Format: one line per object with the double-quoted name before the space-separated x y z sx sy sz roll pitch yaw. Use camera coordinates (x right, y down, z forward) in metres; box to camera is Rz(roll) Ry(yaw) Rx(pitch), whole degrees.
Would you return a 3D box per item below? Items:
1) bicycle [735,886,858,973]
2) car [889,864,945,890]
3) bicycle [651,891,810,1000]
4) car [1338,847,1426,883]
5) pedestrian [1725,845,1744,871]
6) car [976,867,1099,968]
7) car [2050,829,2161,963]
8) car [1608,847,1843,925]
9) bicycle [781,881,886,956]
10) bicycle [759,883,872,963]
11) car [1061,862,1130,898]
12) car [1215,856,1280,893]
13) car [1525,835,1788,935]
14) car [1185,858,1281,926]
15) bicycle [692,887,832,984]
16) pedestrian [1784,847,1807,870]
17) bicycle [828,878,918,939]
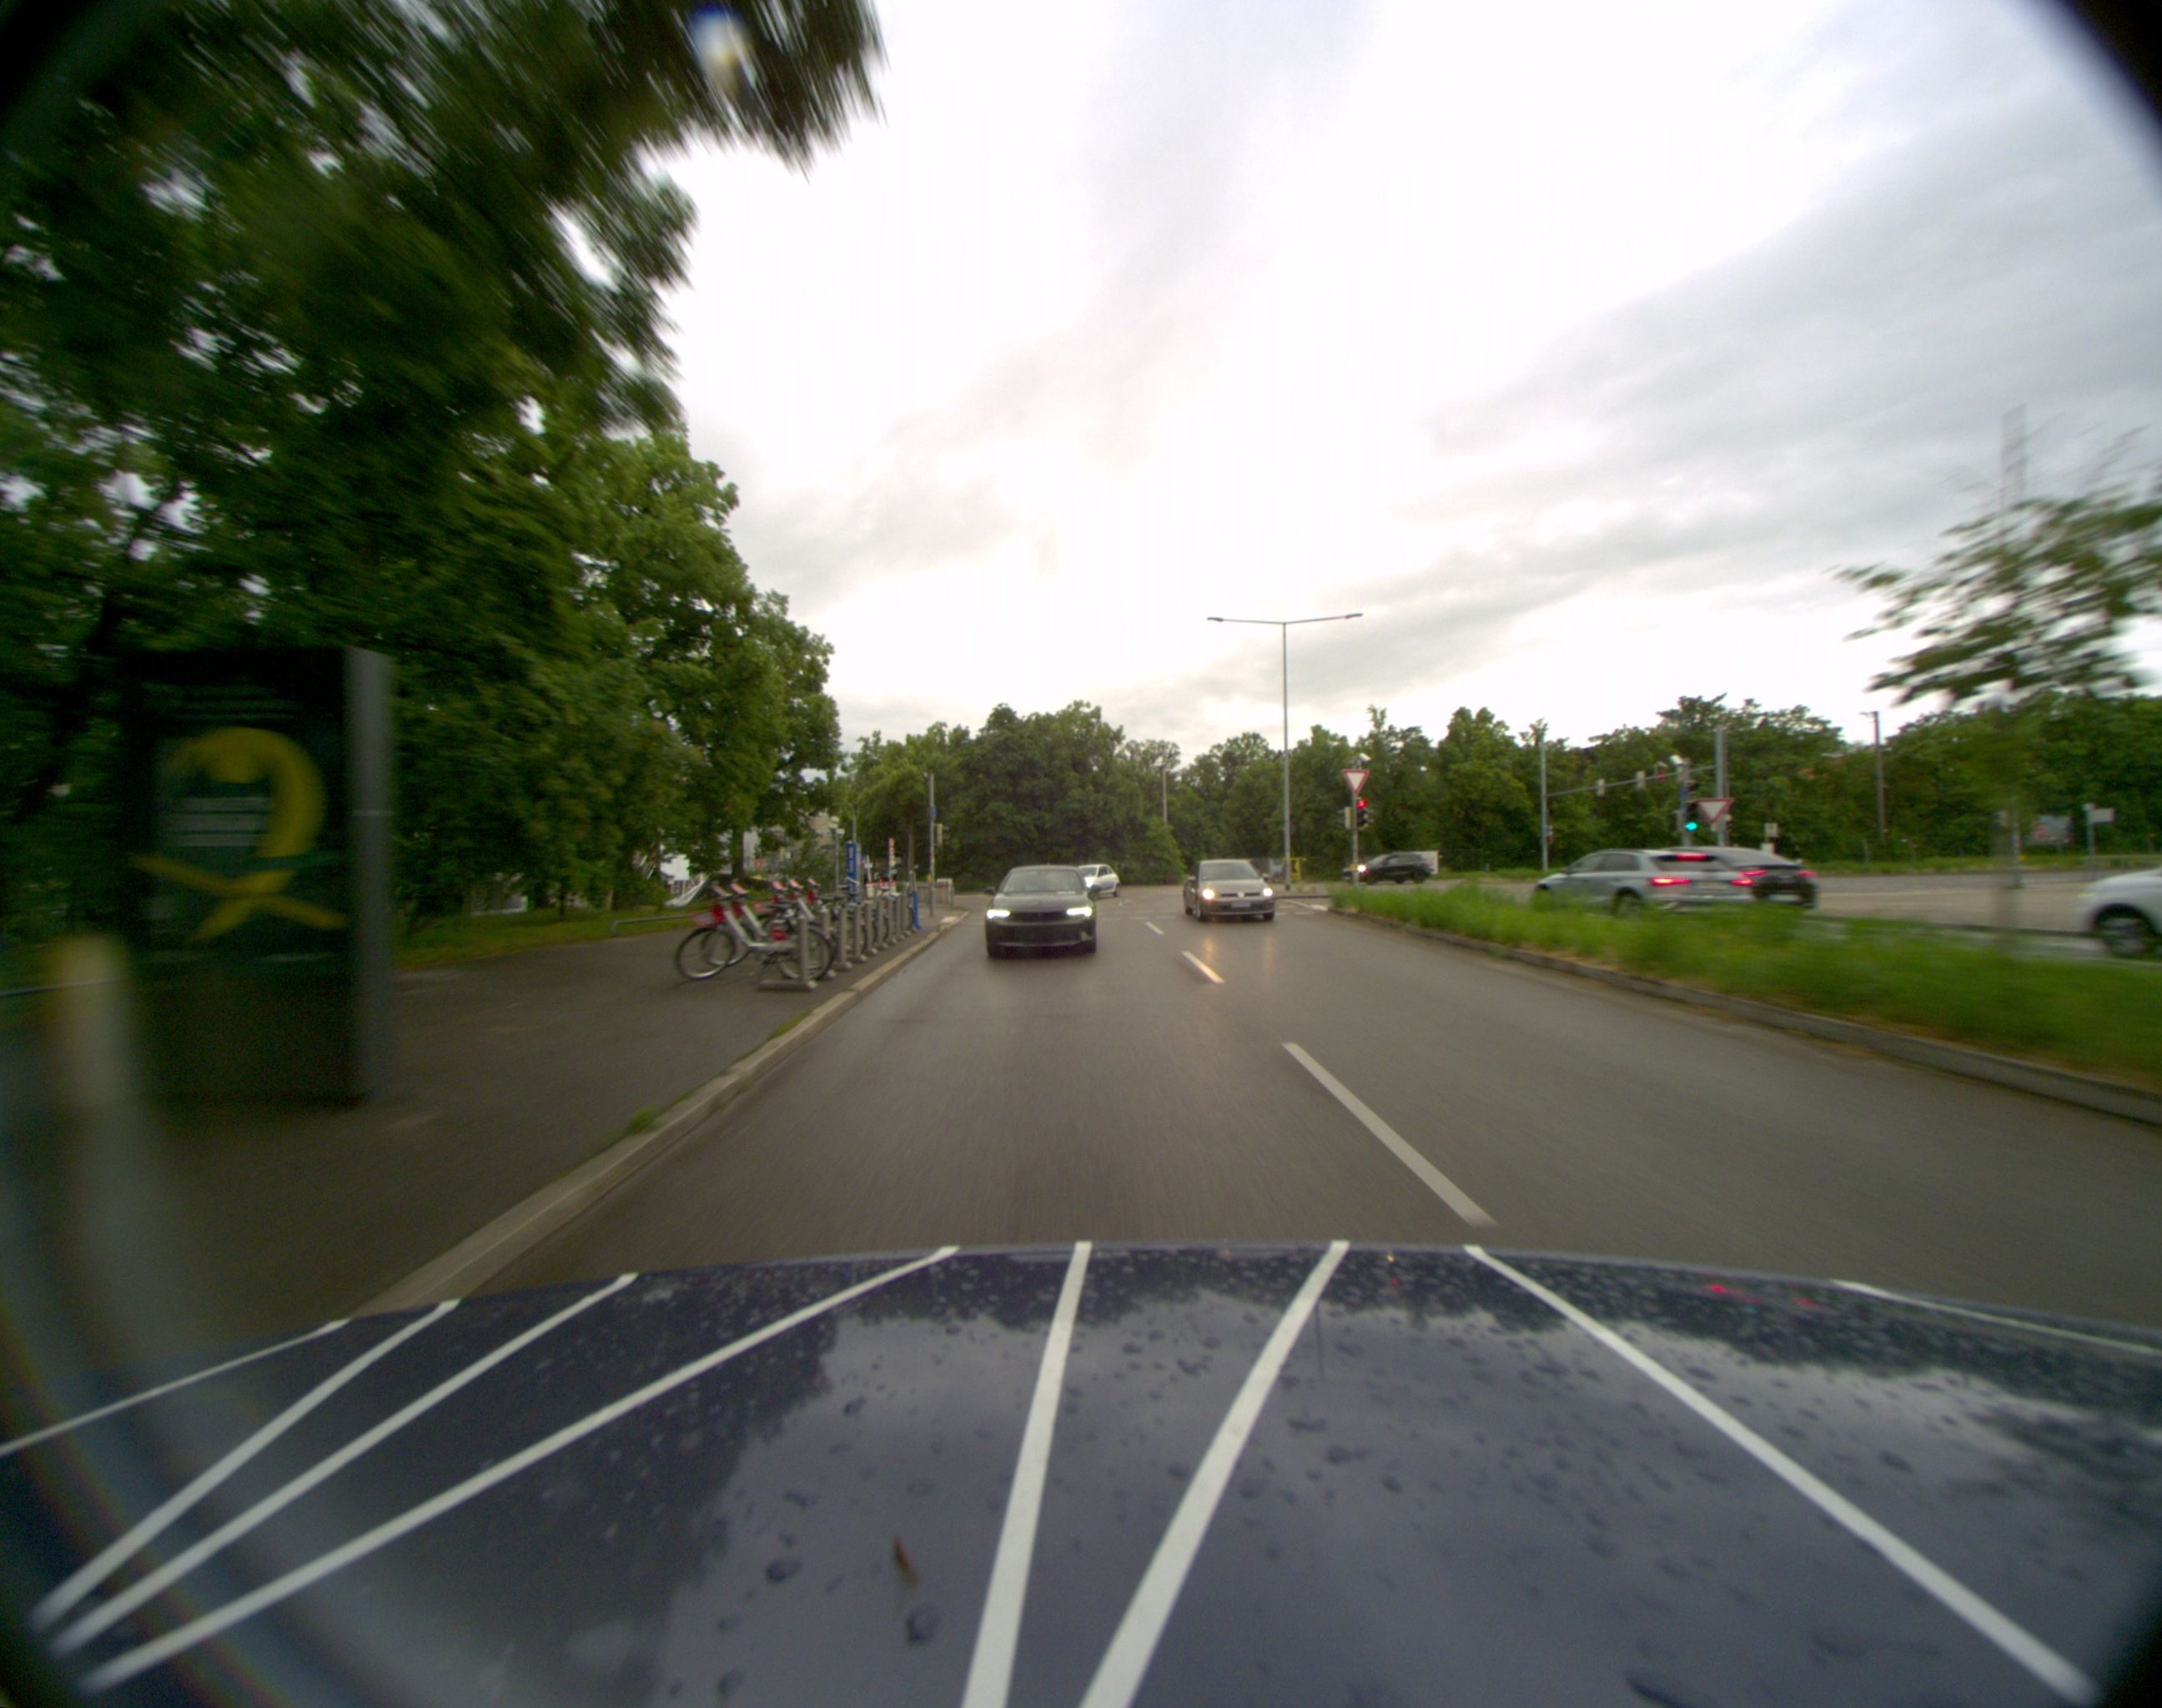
"bicycle" -3.942 1.039 10.602 1.489 1.125 0.556 2 1 -4
"car" -13.641 1.888 63.329 4.008 2.001 1.995 -1 -1 -43
"bicycle" -3.894 1.007 8.507 1.489 1.125 0.556 2 1 -4
"car" 16.430 0.592 41.581 4.000 1.761 1.906 -2 0 -10
"pedestrian" 47.302 0.315 55.019 0.699 1.872 0.678 -2 0 2
"car" -0.606 0.996 13.760 1.804 1.422 4.521 -2 -1 1
"car" 13.421 0.472 8.040 1.654 1.567 3.703 0 -1 2
"car" 13.901 0.663 16.765 1.829 1.510 4.065 0 -1 2
"bicycle" -3.979 1.035 12.276 1.489 1.125 0.556 2 1 -4
"bicycle" -3.980 1.031 11.449 1.489 1.125 0.556 2 1 -4
"car" 0.720 1.172 35.017 1.642 1.511 3.586 -2 -1 29
"car" 7.557 0.904 34.310 1.667 1.520 3.664 -2 -1 32
"car" 10.584 0.575 14.460 1.853 1.565 4.166 -2 -2 2
"car" 3.641 0.870 18.877 1.904 1.431 4.002 -3 0 6
"bicycle" -3.950 1.002 9.484 1.489 1.125 0.556 2 1 -4
"pedestrian" 52.605 0.322 55.952 0.831 1.666 0.822 -2 0 2
"bicycle" -4.078 1.057 14.950 1.600 1.125 0.556 2 1 -4
